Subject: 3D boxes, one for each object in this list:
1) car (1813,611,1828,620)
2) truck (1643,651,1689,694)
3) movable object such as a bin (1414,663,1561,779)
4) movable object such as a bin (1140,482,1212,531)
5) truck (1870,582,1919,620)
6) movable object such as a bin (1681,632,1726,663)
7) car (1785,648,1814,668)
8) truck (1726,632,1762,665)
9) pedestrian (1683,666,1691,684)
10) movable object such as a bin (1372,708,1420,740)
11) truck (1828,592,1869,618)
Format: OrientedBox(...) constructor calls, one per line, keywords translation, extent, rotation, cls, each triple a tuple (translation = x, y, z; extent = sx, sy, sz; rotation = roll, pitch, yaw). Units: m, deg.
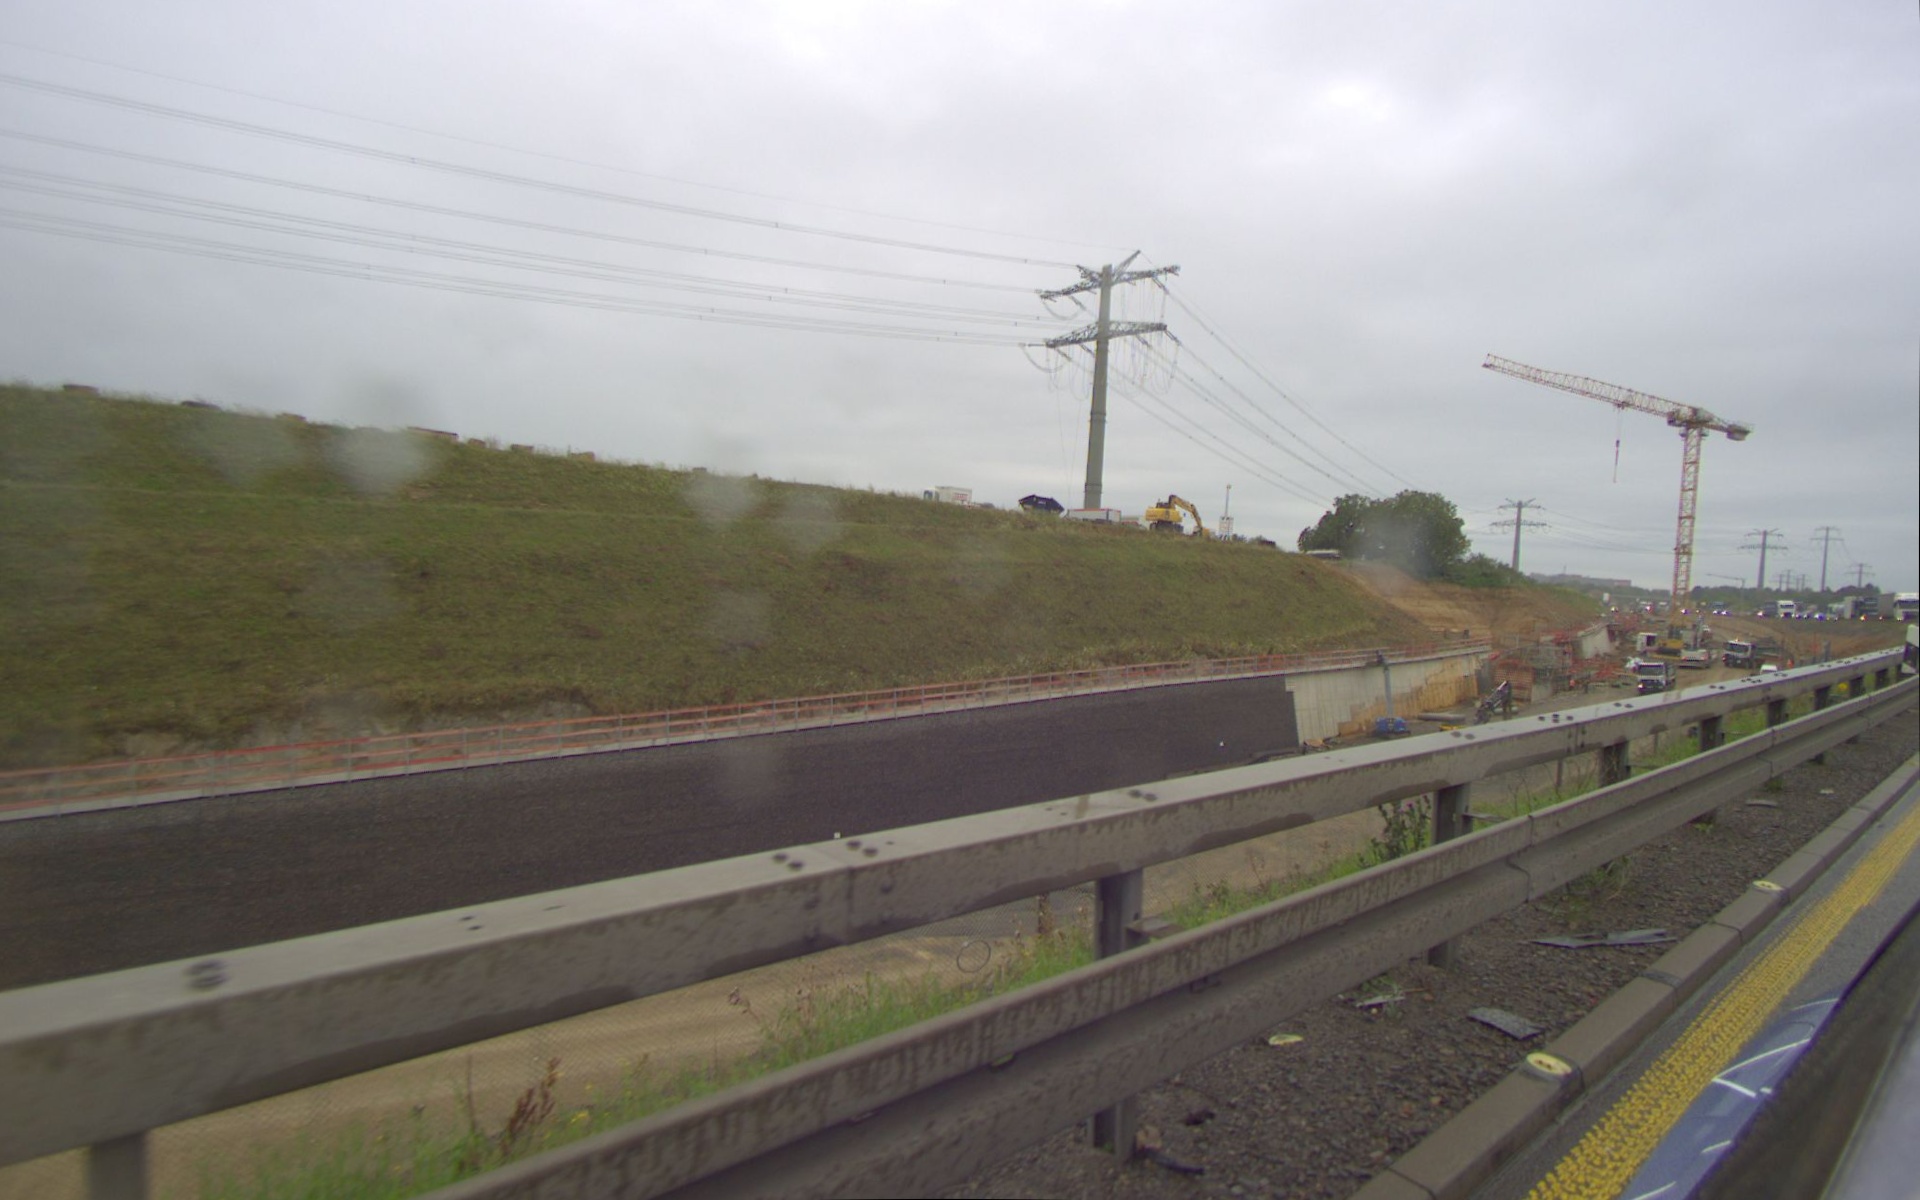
OrientedBox(translation=(149.350, 2.689, 175.622), extent=(1.781, 1.445, 3.944), rotation=(-1, -1, 39), cls="car")
OrientedBox(translation=(73.995, 7.459, 105.932), extent=(2.702, 3.656, 8.935), rotation=(3, 3, 42), cls="truck")
OrientedBox(translation=(34.733, 7.605, 66.305), extent=(11.895, 5.740, 4.896), rotation=(-3, 1, -44), cls="movable object such as a bin")
OrientedBox(translation=(22.155, -9.479, 103.407), extent=(8.040, 4.259, 3.103), rotation=(1, 1, -43), cls="movable object such as a bin")
OrientedBox(translation=(115.578, 0.116, 124.731), extent=(4.299, 4.400, 13.219), rotation=(-1, -1, 39), cls="truck")
OrientedBox(translation=(96.044, 6.067, 130.705), extent=(6.539, 3.467, 3.513), rotation=(-1, 1, -42), cls="movable object such as a bin")
OrientedBox(translation=(104.878, 7.293, 126.391), extent=(3.933, 2.041, 1.994), rotation=(1, -13, -44), cls="car")
OrientedBox(translation=(103.124, 6.269, 133.003), extent=(3.349, 3.583, 8.780), rotation=(1, 3, 40), cls="truck")
OrientedBox(translation=(84.170, 8.698, 117.157), extent=(0.601, 1.928, 0.605), rotation=(3, 2, 39), cls="pedestrian")
OrientedBox(translation=(33.275, 9.413, 77.143), extent=(2.513, 1.935, 3.210), rotation=(-2, -1, 40), cls="movable object such as a bin")
OrientedBox(translation=(140.661, 0.826, 160.317), extent=(3.521, 3.943, 8.237), rotation=(-1, -1, 33), cls="truck")
